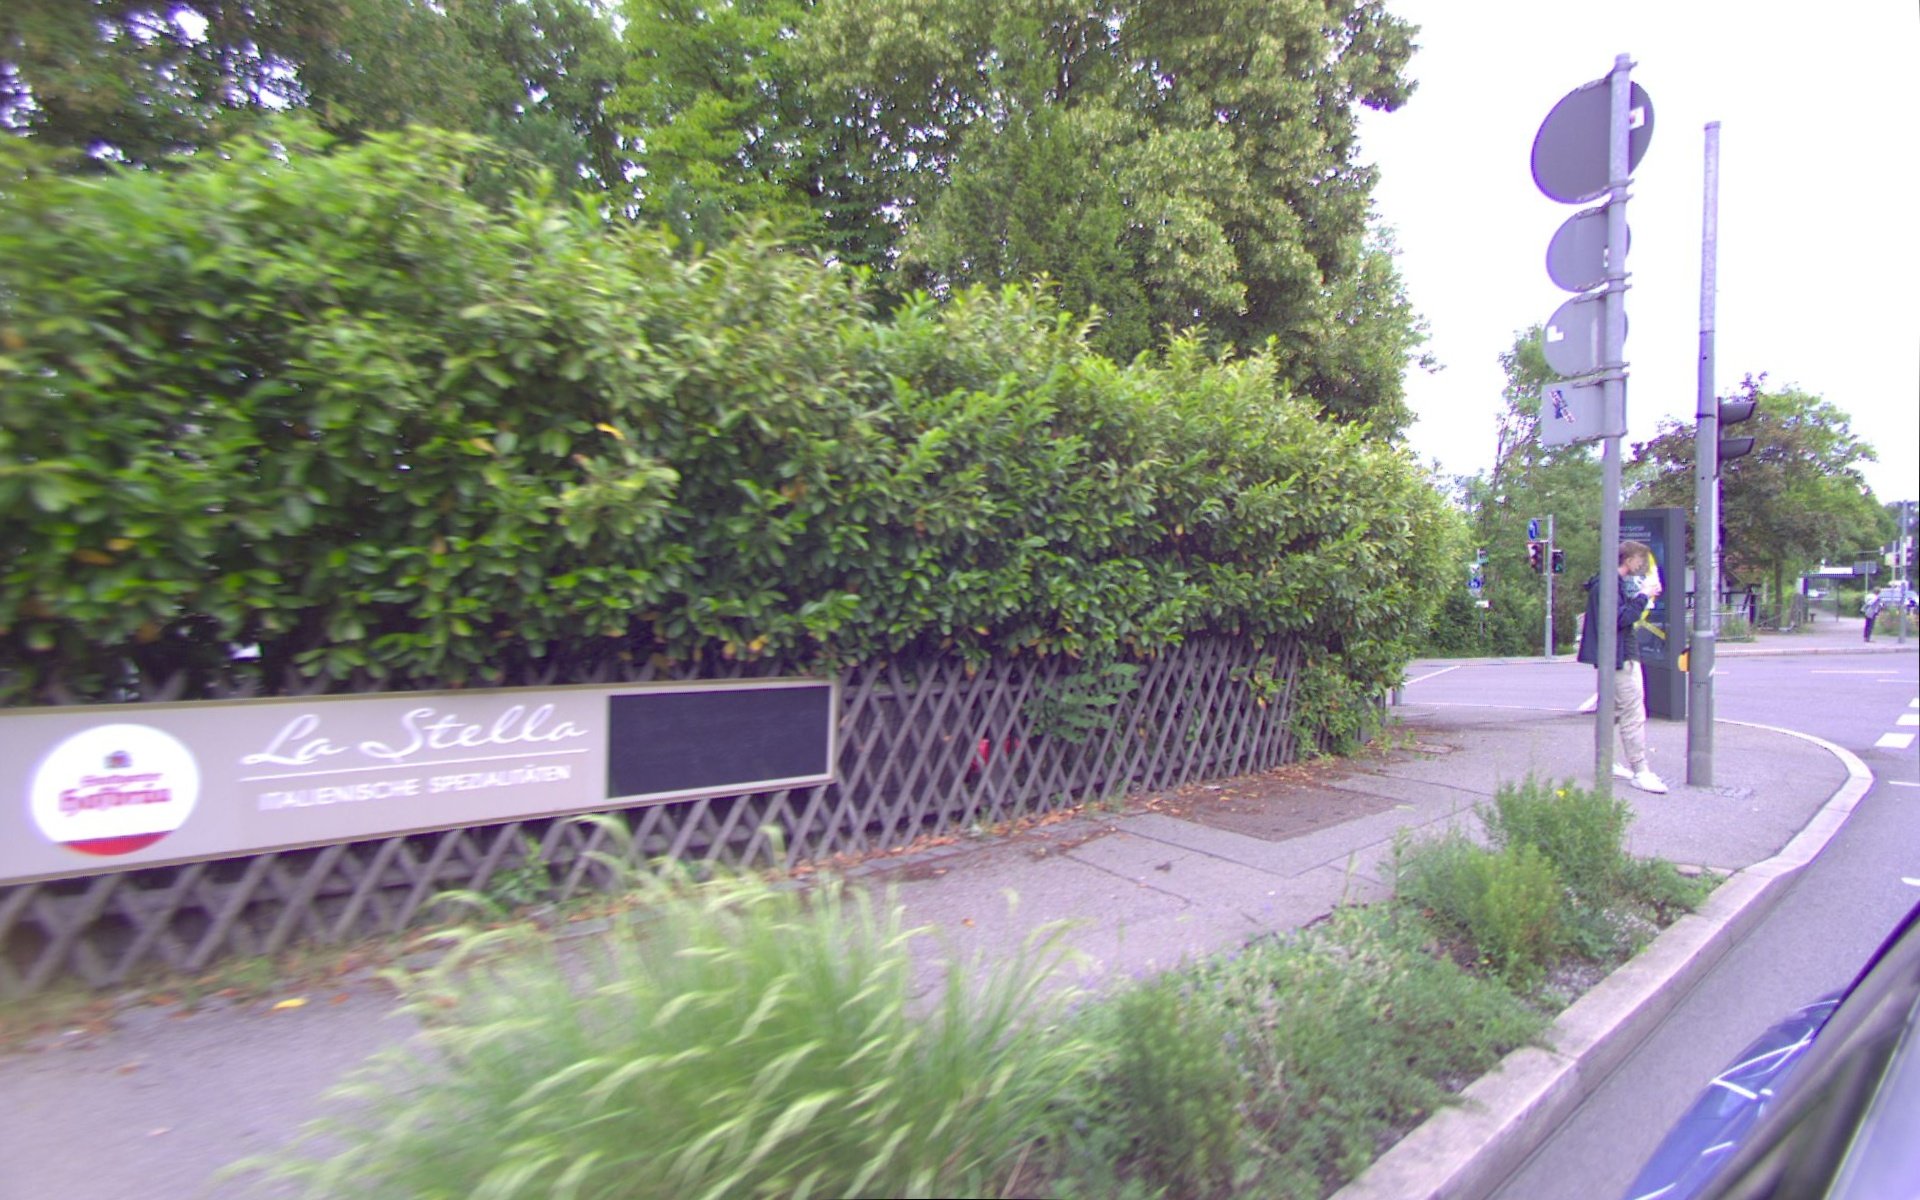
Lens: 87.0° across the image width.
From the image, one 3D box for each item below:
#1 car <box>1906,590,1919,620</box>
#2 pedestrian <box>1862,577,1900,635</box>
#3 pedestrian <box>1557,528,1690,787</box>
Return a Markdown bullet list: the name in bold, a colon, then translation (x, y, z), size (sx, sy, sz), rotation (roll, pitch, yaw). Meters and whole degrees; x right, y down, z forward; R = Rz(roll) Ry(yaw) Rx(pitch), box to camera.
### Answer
- **car**: translation (47.137, 0.267, 48.890), size (1.800, 1.411, 4.222), rotation (1, 1, 40)
- **pedestrian**: translation (27.477, 0.169, 30.205), size (0.613, 1.710, 0.690), rotation (1, 1, 23)
- **pedestrian**: translation (5.076, 0.414, 7.747), size (0.609, 1.857, 0.694), rotation (0, -1, -42)
